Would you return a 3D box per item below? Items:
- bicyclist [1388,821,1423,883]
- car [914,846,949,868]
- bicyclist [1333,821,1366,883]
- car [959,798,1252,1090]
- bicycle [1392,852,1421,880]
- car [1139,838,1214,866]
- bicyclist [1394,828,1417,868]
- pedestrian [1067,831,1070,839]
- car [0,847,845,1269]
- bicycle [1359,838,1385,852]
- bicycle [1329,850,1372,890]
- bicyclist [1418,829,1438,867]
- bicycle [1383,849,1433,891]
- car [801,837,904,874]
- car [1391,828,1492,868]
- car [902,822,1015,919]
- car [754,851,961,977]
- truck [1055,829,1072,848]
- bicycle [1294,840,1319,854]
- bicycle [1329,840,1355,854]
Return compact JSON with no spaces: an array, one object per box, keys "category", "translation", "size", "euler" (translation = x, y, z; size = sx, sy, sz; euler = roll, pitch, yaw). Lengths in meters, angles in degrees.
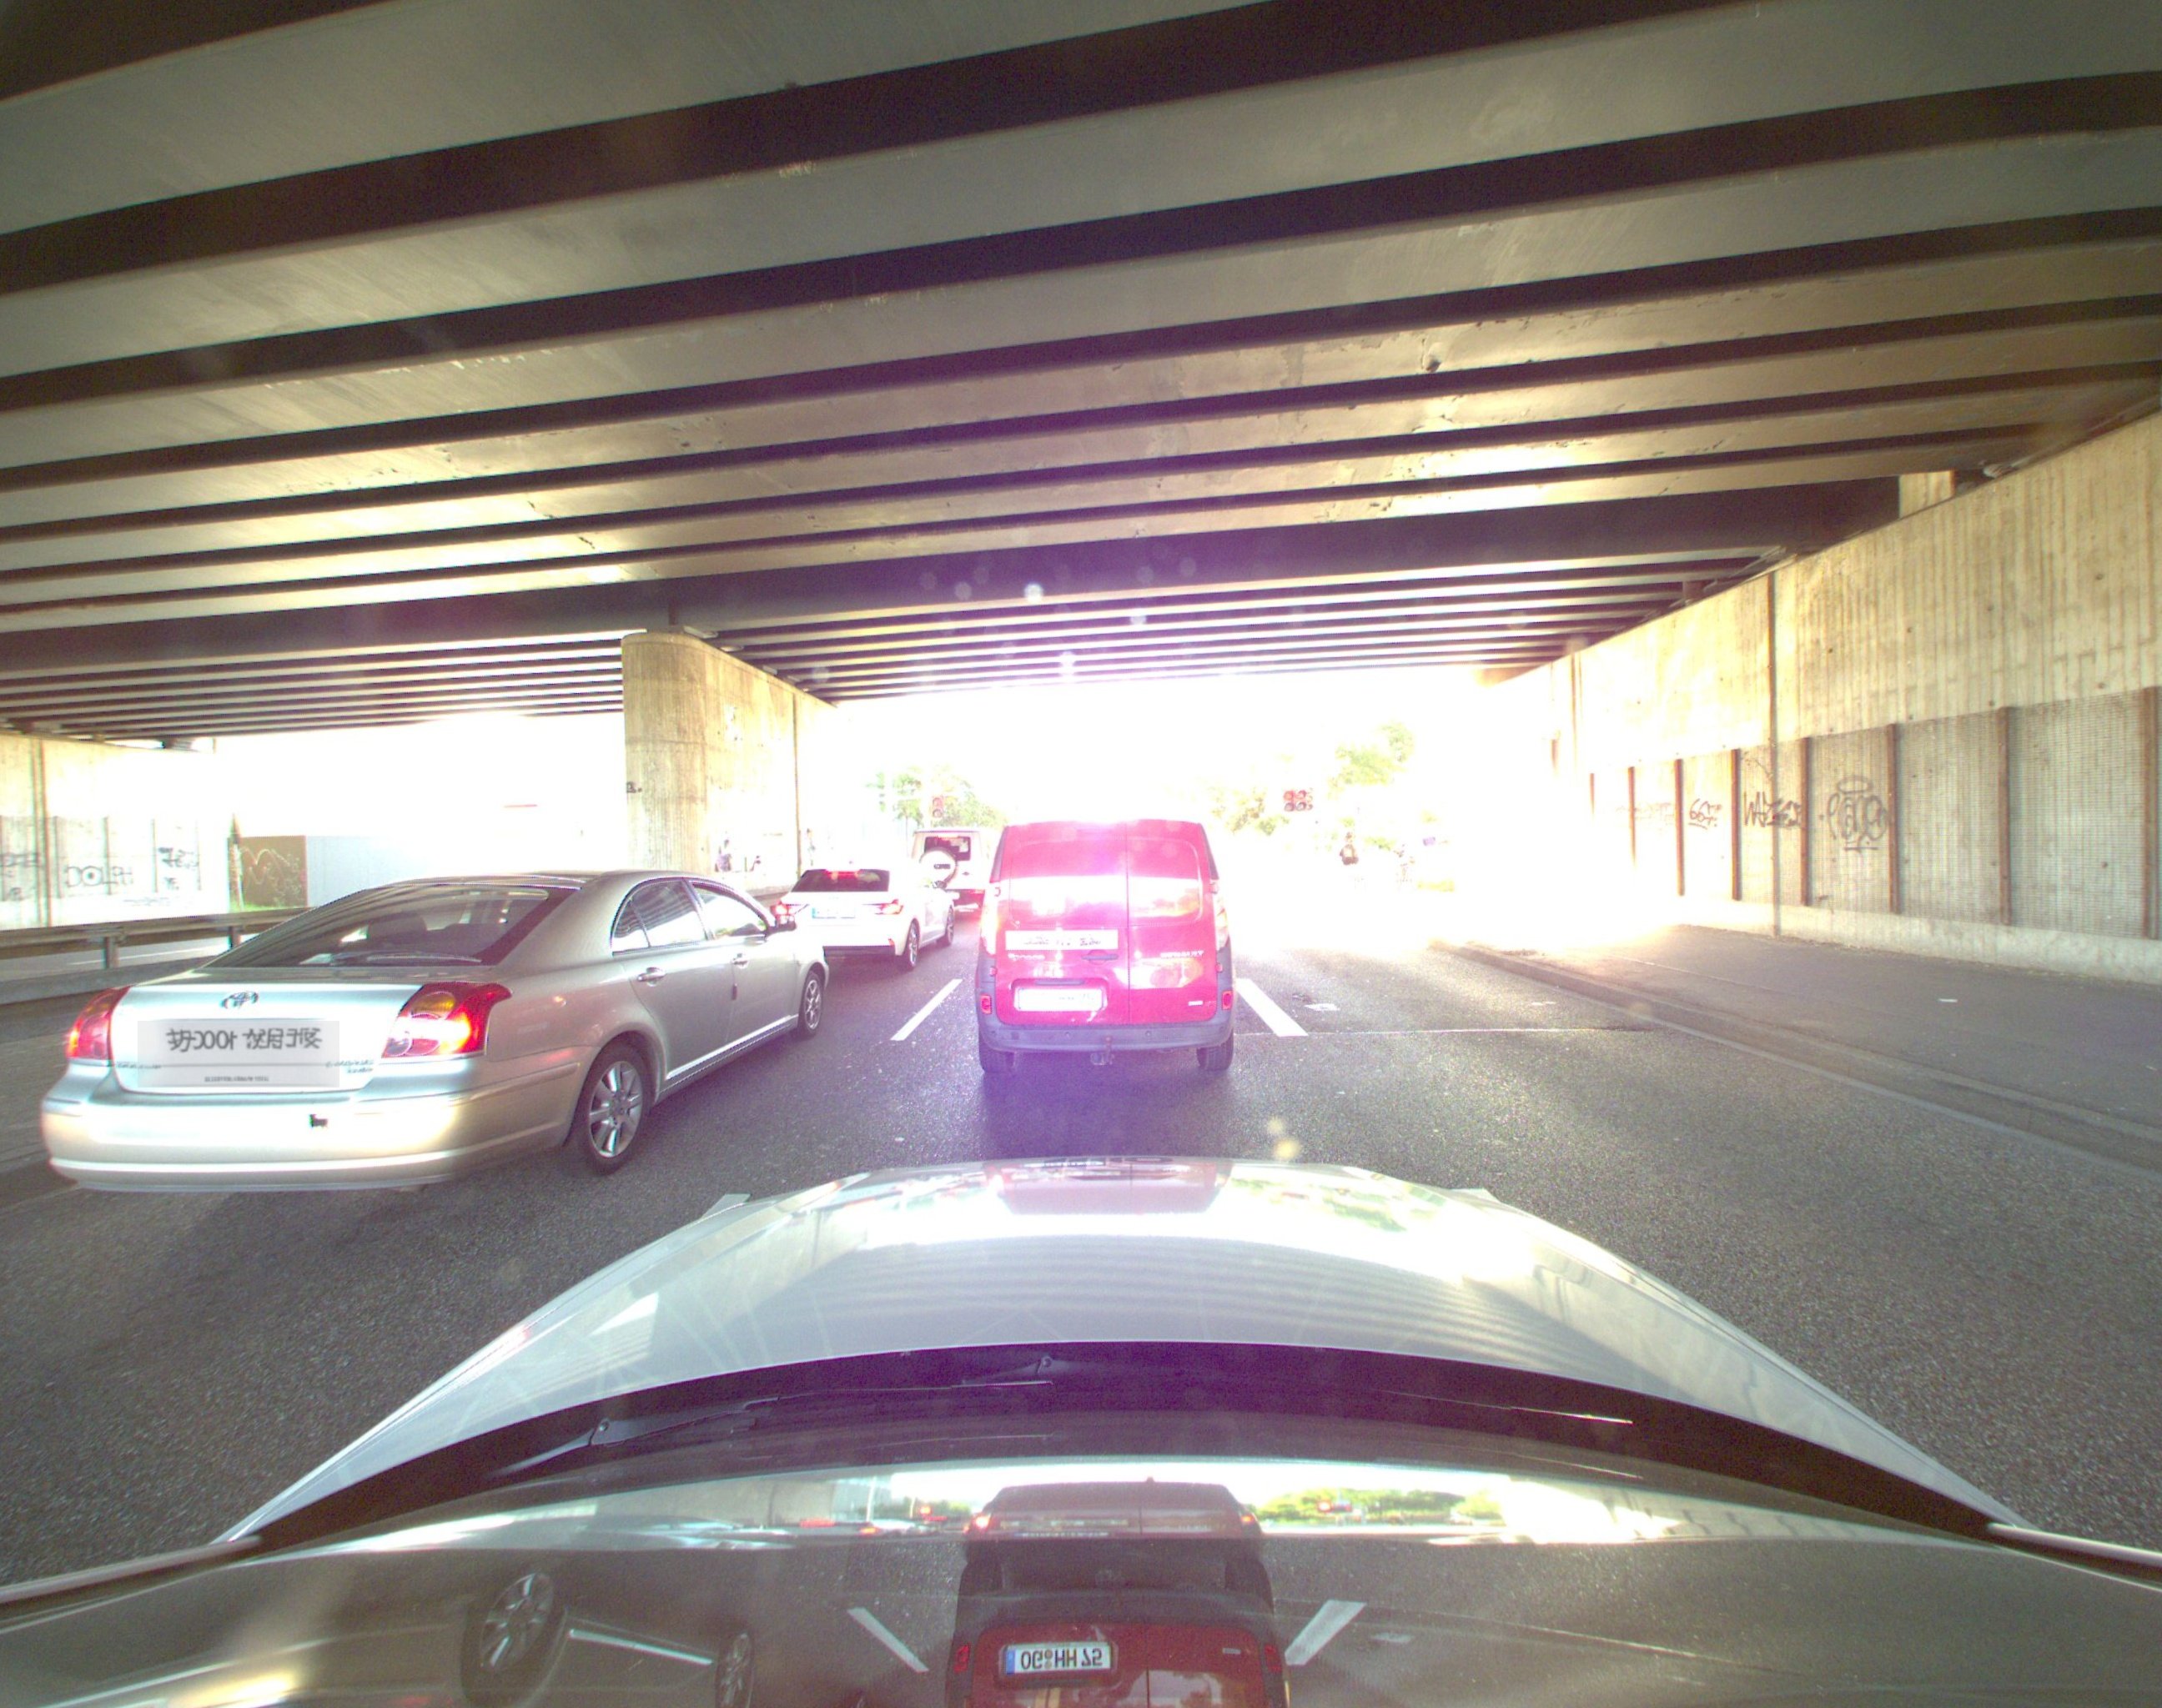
[{"category":"bicyclist","translation":[8.217,-0.043,20.629],"size":[0.589,1.548,0.769],"euler":[0,-1,1]},{"category":"car","translation":[-13.192,0.249,72.121],"size":[1.817,1.737,4.634],"euler":[-4,0,4]},{"category":"bicyclist","translation":[7.143,-0.044,21.710],"size":[0.589,1.613,0.943],"euler":[0,-1,2]},{"category":"car","translation":[0.211,0.571,7.037],"size":[1.798,1.794,4.001],"euler":[0,-1,2]},{"category":"bicycle","translation":[12.296,0.437,30.847],"size":[0.667,1.023,2.062],"euler":[-1,-1,12]},{"category":"car","translation":[5.217,-0.108,44.751],"size":[3.744,1.448,1.690],"euler":[-1,0,-8]},{"category":"bicyclist","translation":[12.297,-0.214,30.889],"size":[0.660,1.474,0.753],"euler":[-1,-1,12]},{"category":"pedestrian","translation":[-3.146,-4.989,208.723],"size":[0.736,2.014,0.638],"euler":[0,-1,5]},{"category":"car","translation":[-3.001,0.733,5.093],"size":[1.727,1.480,4.319],"euler":[-1,0,0]},{"category":"bicycle","translation":[21.294,-0.642,59.598],"size":[1.733,1.023,0.596],"euler":[-1,-1,13]},{"category":"bicycle","translation":[7.163,0.418,21.722],"size":[0.589,1.023,1.751],"euler":[0,-1,2]},{"category":"bicyclist","translation":[13.710,-0.233,32.173],"size":[0.644,1.480,0.621],"euler":[-1,1,17]},{"category":"bicycle","translation":[8.248,0.401,20.615],"size":[0.589,1.023,1.751],"euler":[0,-1,2]},{"category":"car","translation":[-9.954,0.088,35.844],"size":[1.805,1.514,4.589],"euler":[-1,-1,24]},{"category":"car","translation":[16.454,-0.272,37.199],"size":[3.974,1.706,1.716],"euler":[-1,0,-14]},{"category":"car","translation":[-2.704,0.365,19.065],"size":[1.794,1.989,4.591],"euler":[0,-1,2]},{"category":"car","translation":[-2.944,0.717,11.598],"size":[1.807,1.438,3.732],"euler":[-1,1,1]},{"category":"truck","translation":[-3.062,-2.733,143.003],"size":[2.399,3.026,6.661],"euler":[-4,0,3]},{"category":"bicycle","translation":[17.192,-0.511,62.143],"size":[1.734,1.023,0.595],"euler":[-1,-1,10]},{"category":"bicycle","translation":[19.428,-0.541,60.626],"size":[1.734,1.023,0.595],"euler":[-1,-1,10]}]
